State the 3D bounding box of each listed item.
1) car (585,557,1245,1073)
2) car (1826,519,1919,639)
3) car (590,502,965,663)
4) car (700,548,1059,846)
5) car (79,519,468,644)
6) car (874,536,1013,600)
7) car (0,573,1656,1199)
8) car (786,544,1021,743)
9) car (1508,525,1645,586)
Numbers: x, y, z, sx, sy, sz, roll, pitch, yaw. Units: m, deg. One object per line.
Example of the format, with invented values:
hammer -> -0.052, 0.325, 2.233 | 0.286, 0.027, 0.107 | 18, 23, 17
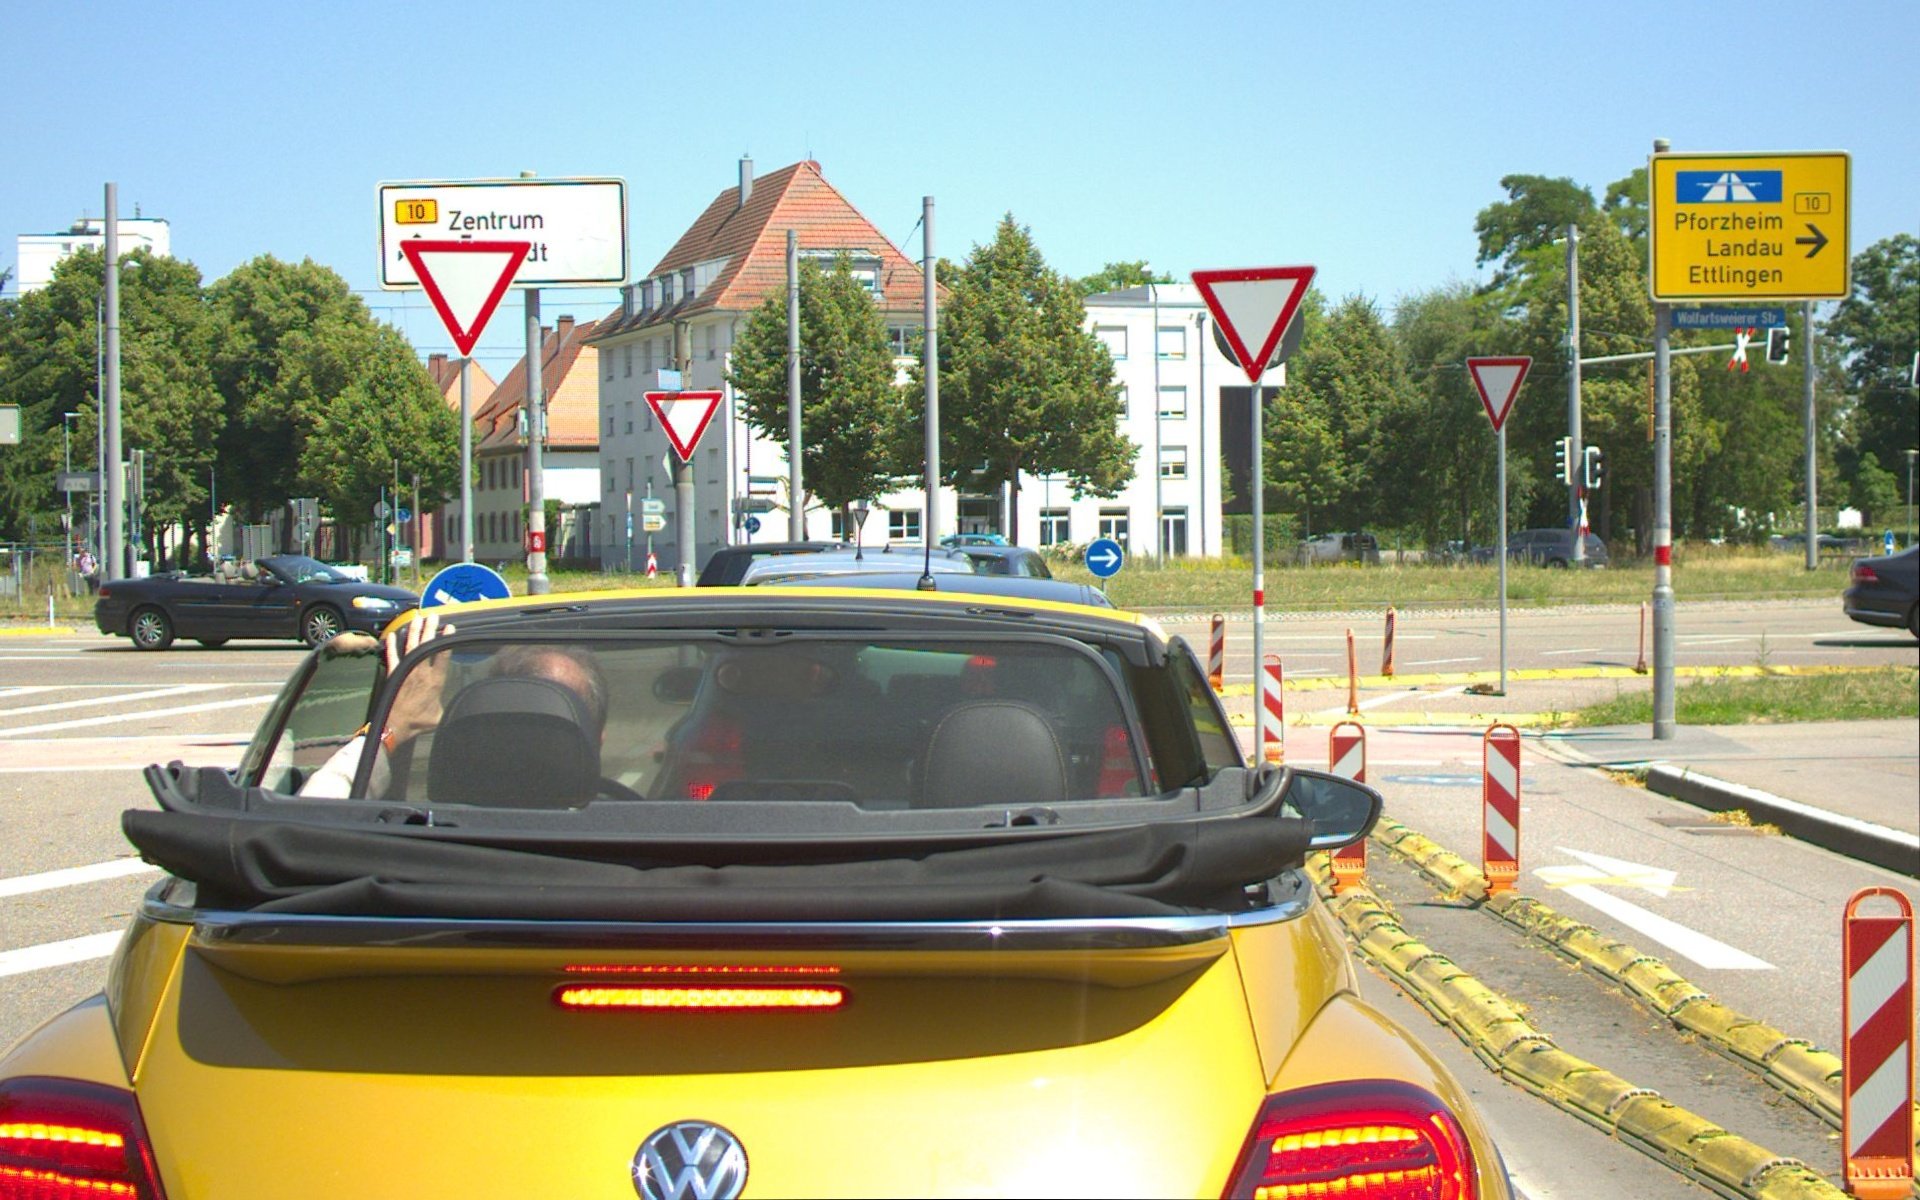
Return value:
car -> -0.145, 0.580, 11.655 | 1.848, 1.437, 4.000 | 0, 1, -1
car -> 12.883, -0.255, 41.763 | 4.520, 1.442, 1.822 | 0, 1, 12
car -> -2.089, -0.220, 39.935 | 3.989, 1.809, 1.999 | 0, 1, 11
car -> -0.411, 0.442, 18.668 | 1.736, 1.437, 4.000 | 0, 1, -1
car -> -9.433, -0.277, 47.241 | 4.943, 1.650, 1.998 | 0, 1, 21
car -> -0.510, -0.942, 101.005 | 3.986, 1.831, 2.000 | 0, 1, -3
car -> -0.309, 0.687, 4.839 | 1.752, 1.417, 3.778 | 0, 1, -1
car -> -0.438, 0.292, 27.469 | 1.736, 1.472, 4.000 | 0, 1, -1
car -> 16.347, -1.190, 91.198 | 1.646, 1.601, 3.226 | -1, 1, -45
